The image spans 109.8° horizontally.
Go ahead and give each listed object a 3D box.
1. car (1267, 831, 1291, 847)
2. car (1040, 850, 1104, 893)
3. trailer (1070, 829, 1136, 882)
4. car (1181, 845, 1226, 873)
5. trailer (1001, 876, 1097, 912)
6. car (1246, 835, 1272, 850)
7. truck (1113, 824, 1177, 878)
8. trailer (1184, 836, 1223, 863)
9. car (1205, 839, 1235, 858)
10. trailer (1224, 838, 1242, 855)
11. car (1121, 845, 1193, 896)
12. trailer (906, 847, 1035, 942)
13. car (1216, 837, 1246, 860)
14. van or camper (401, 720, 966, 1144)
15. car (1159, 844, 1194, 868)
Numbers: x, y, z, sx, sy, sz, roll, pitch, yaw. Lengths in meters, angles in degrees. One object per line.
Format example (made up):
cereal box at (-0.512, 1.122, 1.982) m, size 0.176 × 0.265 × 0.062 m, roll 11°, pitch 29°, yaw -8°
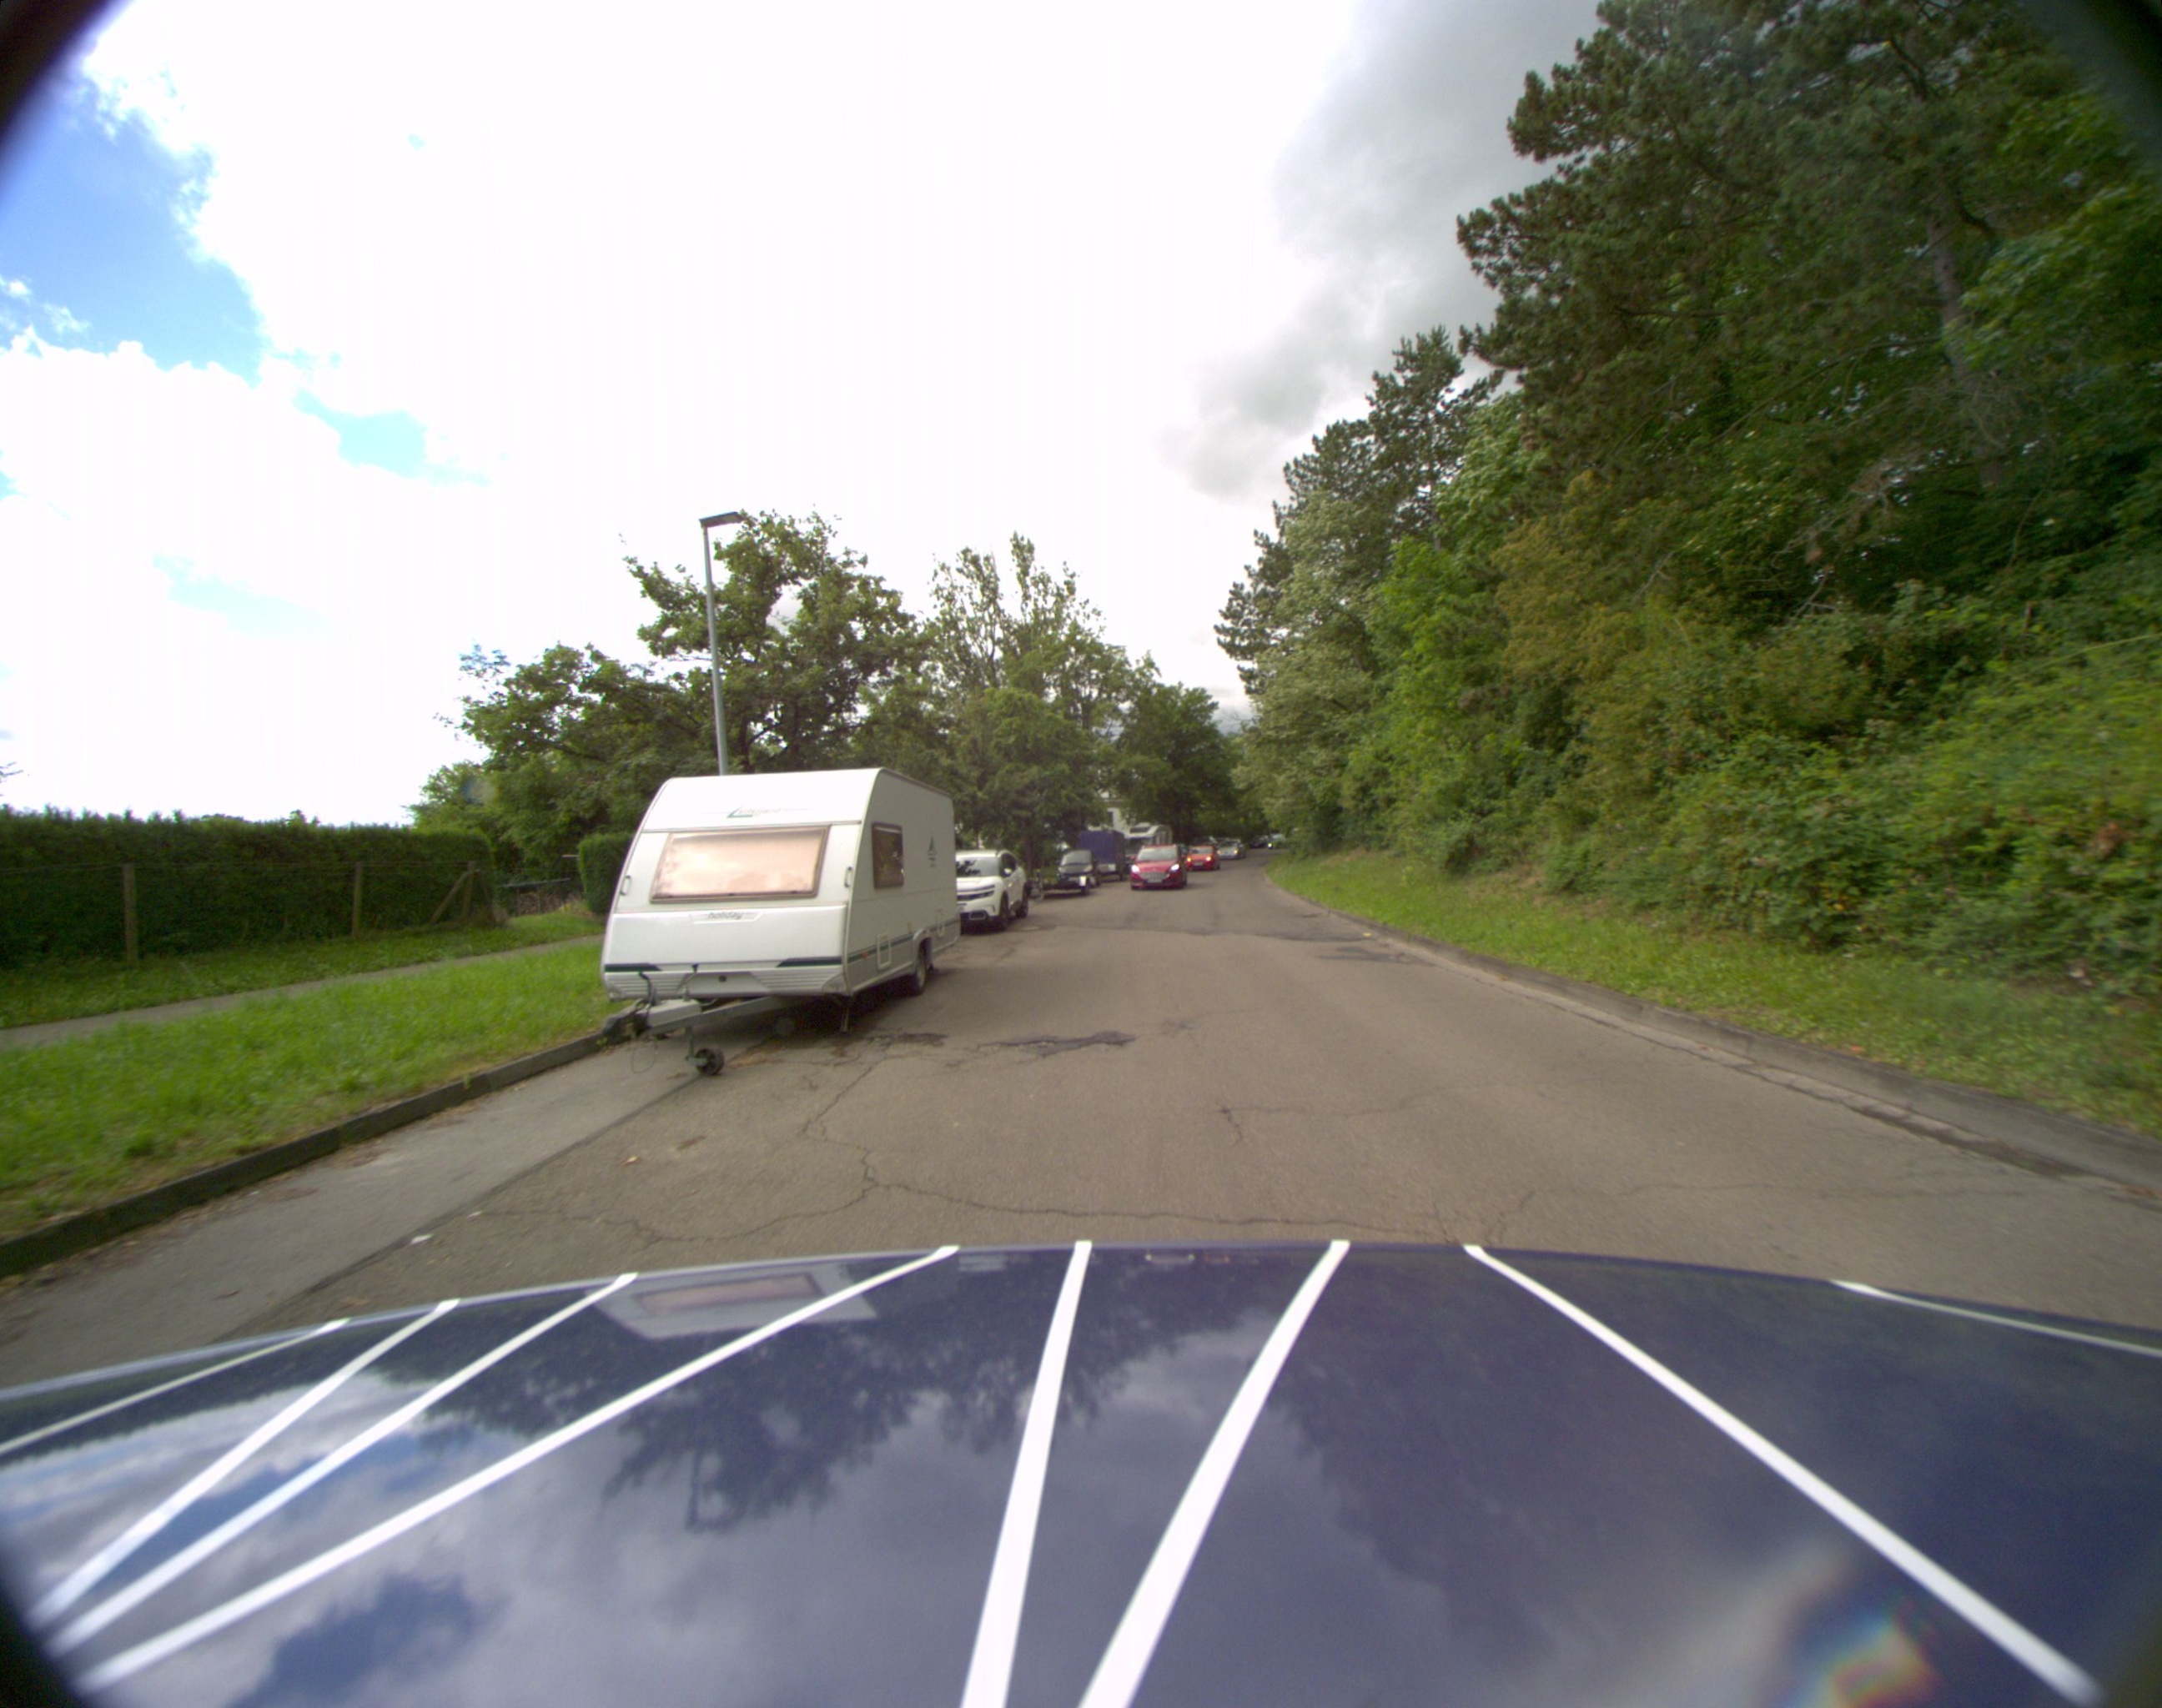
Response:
car at (21.012, -1.598, 80.555) m, size 1.765 × 1.509 × 4.005 m, roll -3°, pitch 1°, yaw 23°
car at (-0.287, 0.672, 30.490) m, size 1.732 × 1.513 × 3.408 m, roll -3°, pitch 0°, yaw 13°
trailer at (1.126, 0.104, 35.856) m, size 2.109 × 2.347 × 4.707 m, roll -1°, pitch -1°, yaw 14°
car at (7.292, 0.276, 44.909) m, size 1.864 × 1.440 × 4.180 m, roll -3°, pitch 1°, yaw 19°
trailer at (-0.875, 1.257, 25.256) m, size 2.108 × 0.647 × 6.403 m, roll -3°, pitch 1°, yaw 7°
car at (20.294, -1.309, 86.518) m, size 1.864 × 1.558 × 4.182 m, roll -3°, pitch 1°, yaw 27°
truck at (3.994, -0.233, 46.036) m, size 2.306 × 2.916 × 7.041 m, roll -2°, pitch 1°, yaw 17°
trailer at (10.550, -0.409, 65.171) m, size 1.996 × 1.922 × 5.899 m, roll -3°, pitch 3°, yaw 21°
car at (12.981, -0.534, 70.550) m, size 1.842 × 1.675 × 4.606 m, roll -3°, pitch 0°, yaw 21°
trailer at (15.447, -0.813, 77.040) m, size 1.375 × 1.595 × 2.270 m, roll -3°, pitch 1°, yaw 21°
car at (2.958, 0.544, 28.642) m, size 1.997 × 1.619 × 4.630 m, roll -3°, pitch 1°, yaw 13°
trailer at (-2.266, 0.765, 16.893) m, size 1.776 × 1.721 × 4.651 m, roll -1°, pitch 1°, yaw 5°
car at (11.996, -0.484, 60.440) m, size 1.920 × 1.672 × 4.004 m, roll -1°, pitch 2°, yaw 17°
van or camper at (-2.930, 0.462, 7.718) m, size 2.166 × 2.521 × 6.032 m, roll -3°, pitch 1°, yaw 3°
car at (7.150, 0.134, 56.584) m, size 1.697 × 1.538 × 3.772 m, roll -3°, pitch 1°, yaw 19°
